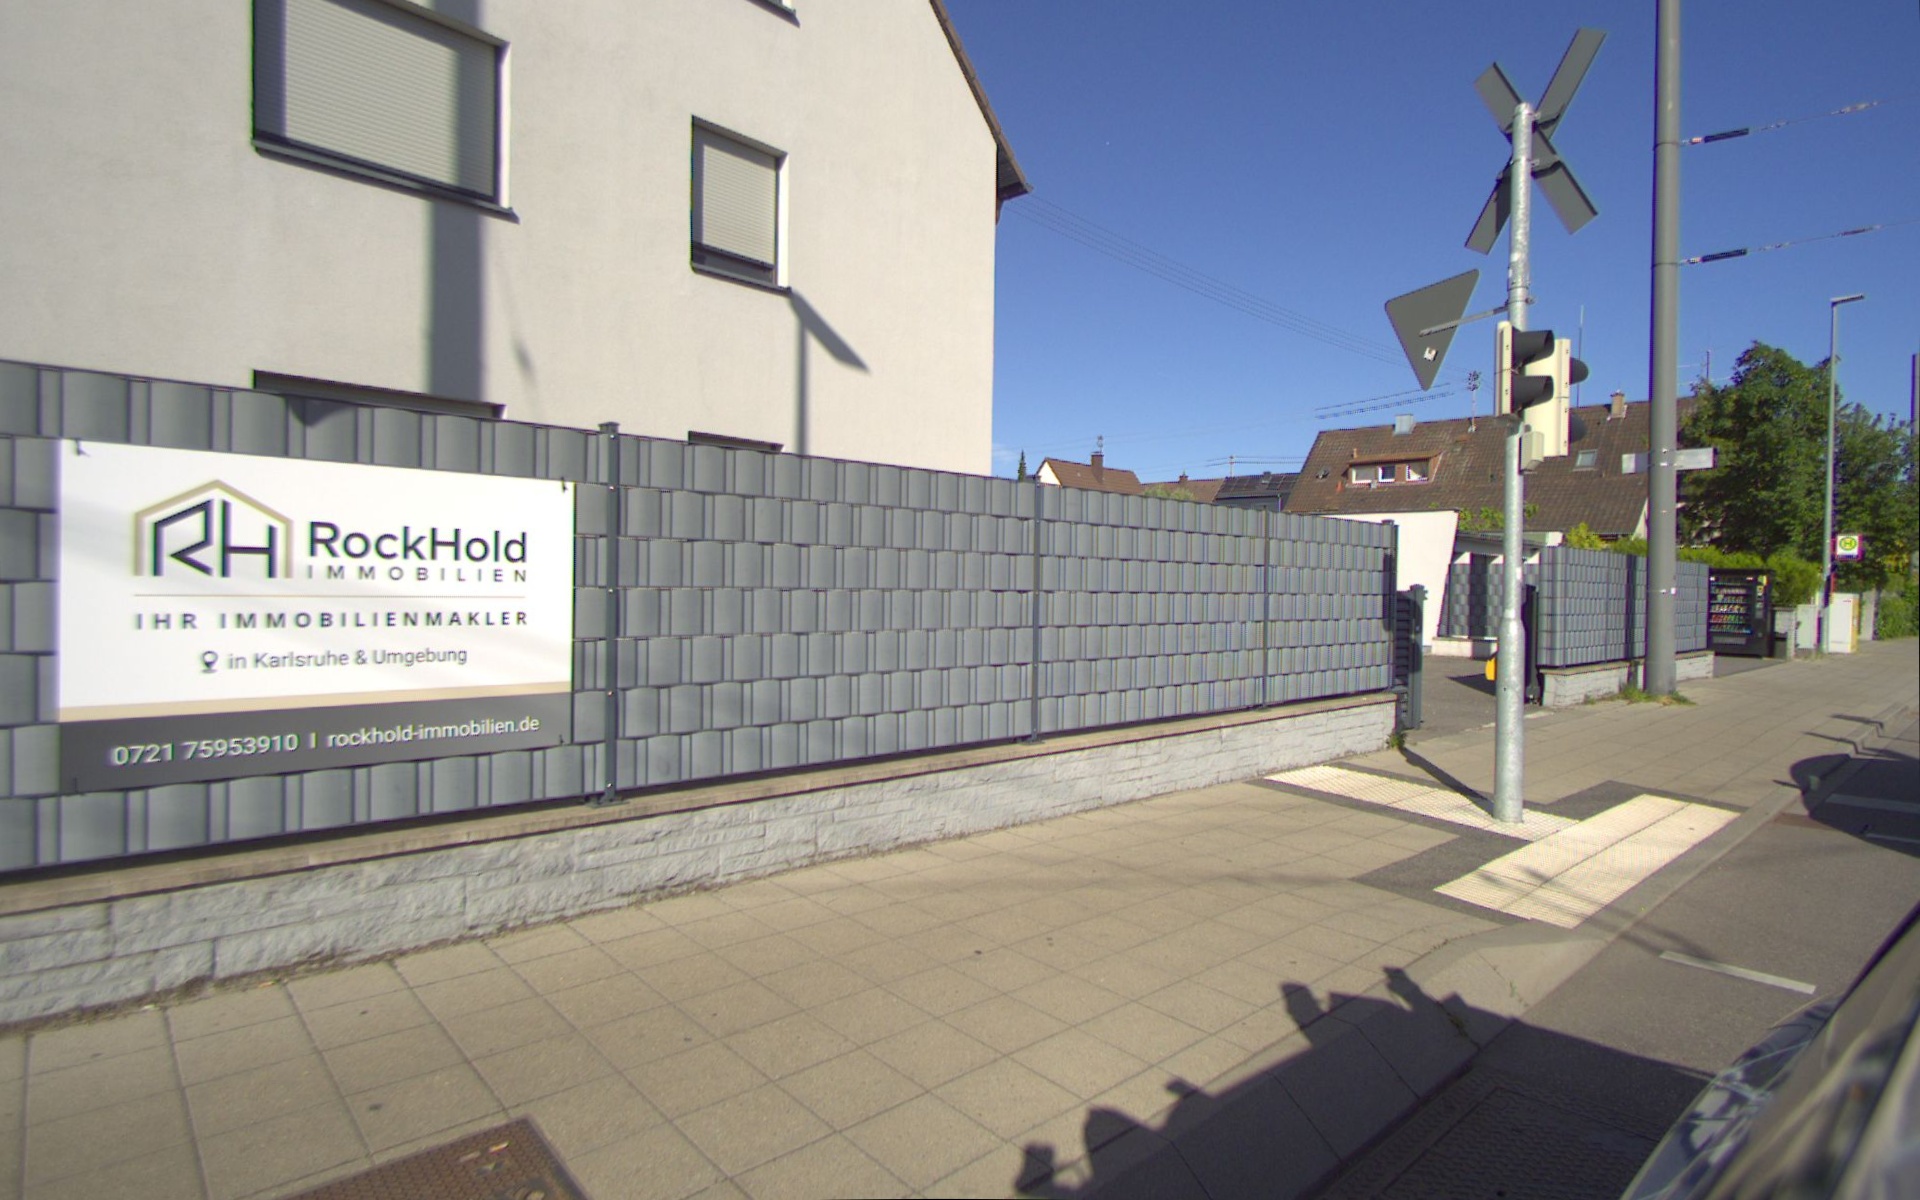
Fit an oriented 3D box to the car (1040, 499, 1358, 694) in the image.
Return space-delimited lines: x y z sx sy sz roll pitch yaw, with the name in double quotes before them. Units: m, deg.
"car" 3.371 -0.125 15.459 1.959 2.461 5.000 -1 2 -27
